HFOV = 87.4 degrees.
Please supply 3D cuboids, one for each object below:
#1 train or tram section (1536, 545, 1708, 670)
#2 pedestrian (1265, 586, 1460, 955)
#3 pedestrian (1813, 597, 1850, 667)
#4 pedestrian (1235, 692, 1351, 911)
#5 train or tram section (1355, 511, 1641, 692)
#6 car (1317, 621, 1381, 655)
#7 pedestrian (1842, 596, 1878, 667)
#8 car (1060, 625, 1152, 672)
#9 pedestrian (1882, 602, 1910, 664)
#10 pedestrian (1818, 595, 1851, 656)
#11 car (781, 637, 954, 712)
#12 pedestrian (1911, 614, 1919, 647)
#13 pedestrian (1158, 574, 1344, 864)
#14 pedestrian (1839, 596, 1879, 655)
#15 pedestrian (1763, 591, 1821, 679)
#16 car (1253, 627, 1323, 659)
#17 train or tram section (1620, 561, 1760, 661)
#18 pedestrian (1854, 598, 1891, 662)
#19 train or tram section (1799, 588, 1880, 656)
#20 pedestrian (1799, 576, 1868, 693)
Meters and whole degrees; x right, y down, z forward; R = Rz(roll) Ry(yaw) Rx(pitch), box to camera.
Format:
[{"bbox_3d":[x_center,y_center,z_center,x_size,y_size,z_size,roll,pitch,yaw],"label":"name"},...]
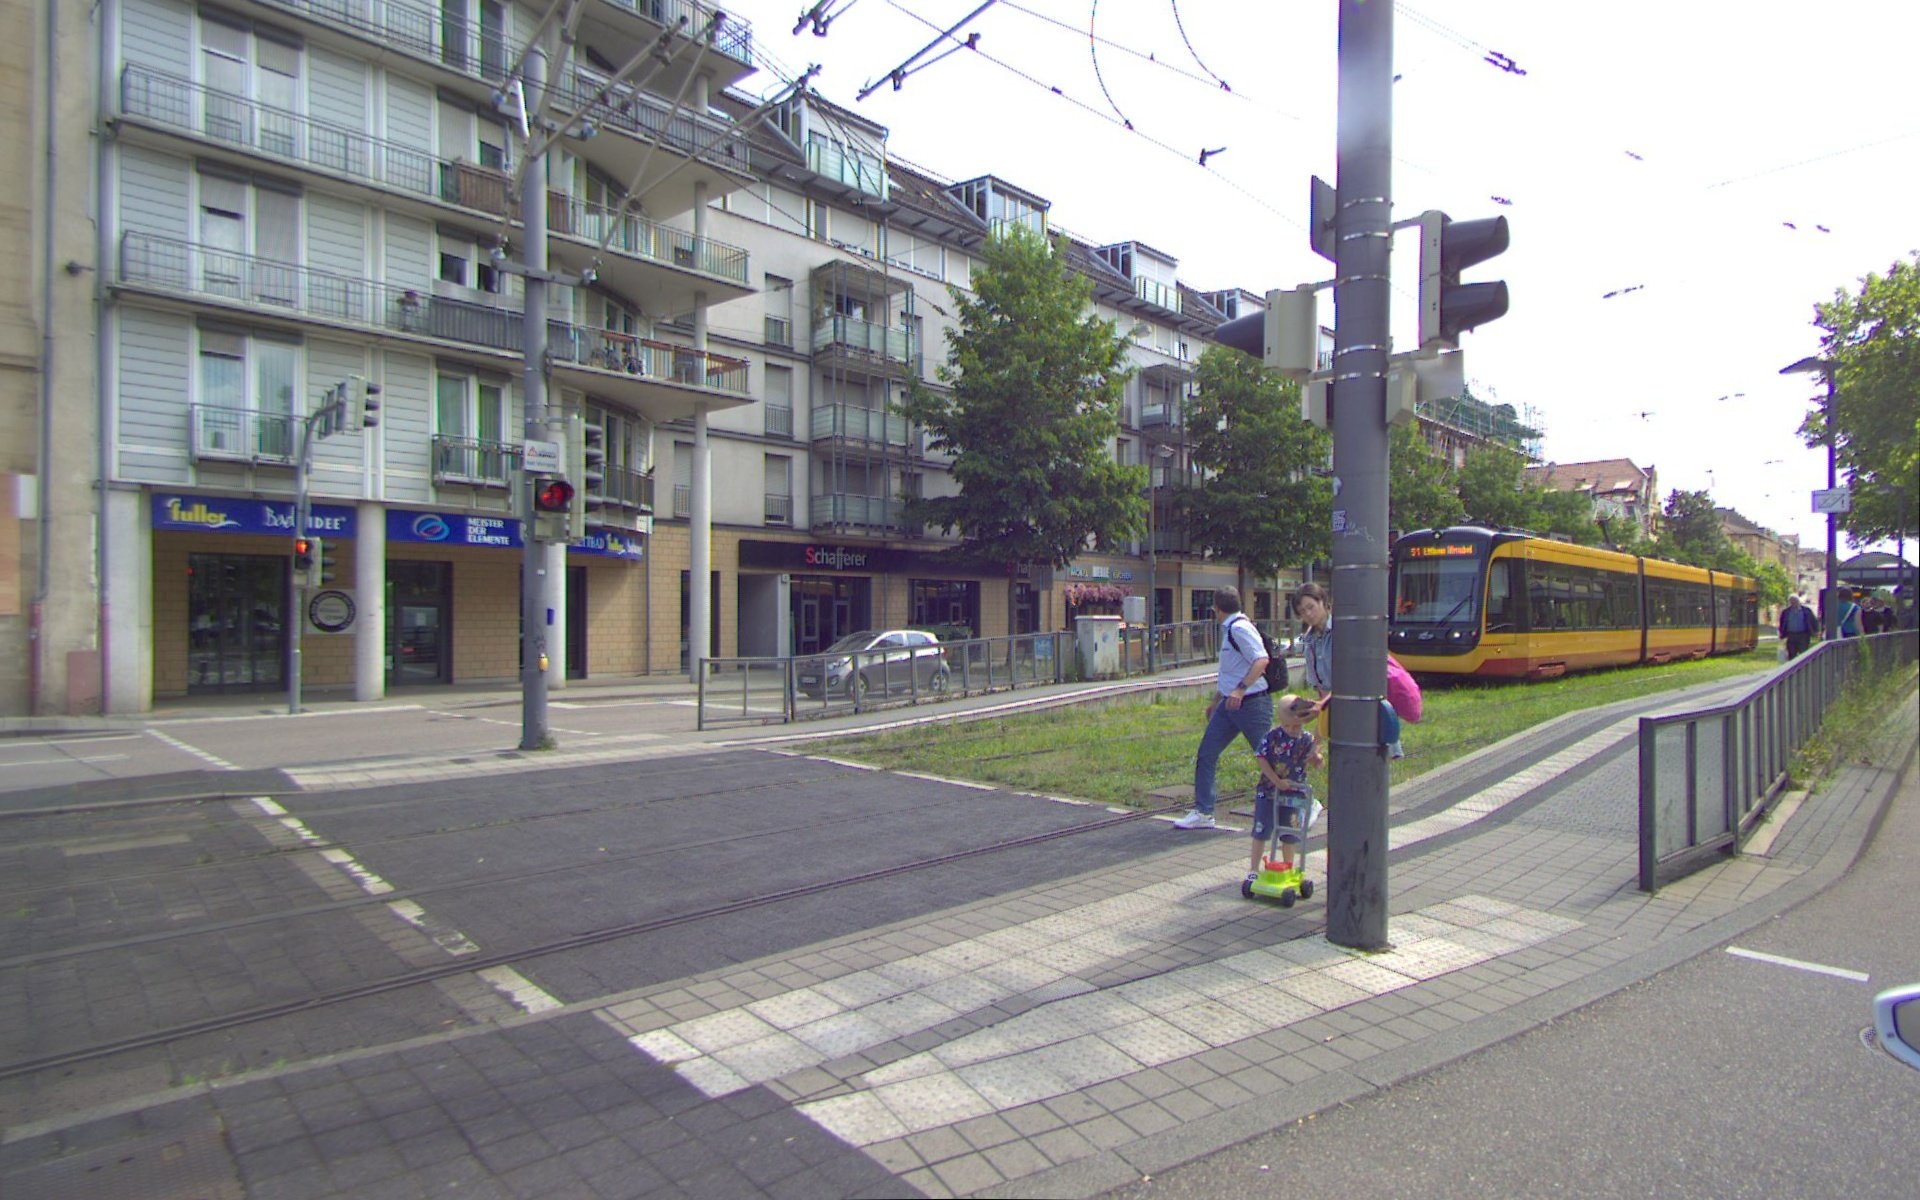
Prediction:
[{"bbox_3d":[22.548,0.294,33.878,10.335,3.632,2.768,1,-1,-45],"label":"train or tram section"},{"bbox_3d":[1.995,0.787,5.016,0.666,1.688,0.623,0,-1,-22],"label":"pedestrian"},{"bbox_3d":[23.962,0.871,27.614,0.694,1.874,0.902,0,-1,45],"label":"pedestrian"},{"bbox_3d":[1.794,1.060,5.426,0.431,1.077,0.418,0,-1,-25],"label":"pedestrian"},{"bbox_3d":[14.265,0.125,25.679,12.930,3.632,2.779,1,-1,-45],"label":"train or tram section"},{"bbox_3d":[19.609,1.878,50.576,3.667,1.630,1.702,1,-1,-45],"label":"car"},{"bbox_3d":[24.369,0.848,27.193,0.784,1.874,0.694,1,-1,-45],"label":"pedestrian"},{"bbox_3d":[5.359,1.734,36.629,1.635,1.600,3.456,-1,-1,44],"label":"car"},{"bbox_3d":[29.611,1.042,31.769,0.463,1.925,0.537,0,-1,22],"label":"pedestrian"},{"bbox_3d":[26.976,0.786,30.981,0.704,1.825,1.125,0,-1,45],"label":"pedestrian"},{"bbox_3d":[-1.975,1.571,22.083,1.616,1.457,3.621,-1,-1,44],"label":"car"},{"bbox_3d":[45.329,1.440,47.347,0.592,1.535,0.669,1,-1,-45],"label":"pedestrian"},{"bbox_3d":[2.012,0.752,6.931,1.038,1.804,0.840,1,-1,-44],"label":"pedestrian"},{"bbox_3d":[28.587,0.818,31.925,0.877,1.825,1.485,0,-1,45],"label":"pedestrian"},{"bbox_3d":[17.468,0.730,21.090,0.870,1.798,0.849,1,-1,-44],"label":"pedestrian"},{"bbox_3d":[15.077,1.927,46.143,3.454,1.389,1.702,1,-2,-45],"label":"car"},{"bbox_3d":[30.831,0.496,42.067,12.930,3.632,2.696,1,-1,-45],"label":"train or tram section"},{"bbox_3d":[27.693,0.890,30.483,1.024,1.897,0.802,1,-1,-45],"label":"pedestrian"},{"bbox_3d":[52.292,1.283,59.579,12.930,3.632,2.696,1,-1,-45],"label":"train or tram section"},{"bbox_3d":[14.862,0.572,17.084,0.841,1.924,0.819,1,-1,-44],"label":"pedestrian"}]
